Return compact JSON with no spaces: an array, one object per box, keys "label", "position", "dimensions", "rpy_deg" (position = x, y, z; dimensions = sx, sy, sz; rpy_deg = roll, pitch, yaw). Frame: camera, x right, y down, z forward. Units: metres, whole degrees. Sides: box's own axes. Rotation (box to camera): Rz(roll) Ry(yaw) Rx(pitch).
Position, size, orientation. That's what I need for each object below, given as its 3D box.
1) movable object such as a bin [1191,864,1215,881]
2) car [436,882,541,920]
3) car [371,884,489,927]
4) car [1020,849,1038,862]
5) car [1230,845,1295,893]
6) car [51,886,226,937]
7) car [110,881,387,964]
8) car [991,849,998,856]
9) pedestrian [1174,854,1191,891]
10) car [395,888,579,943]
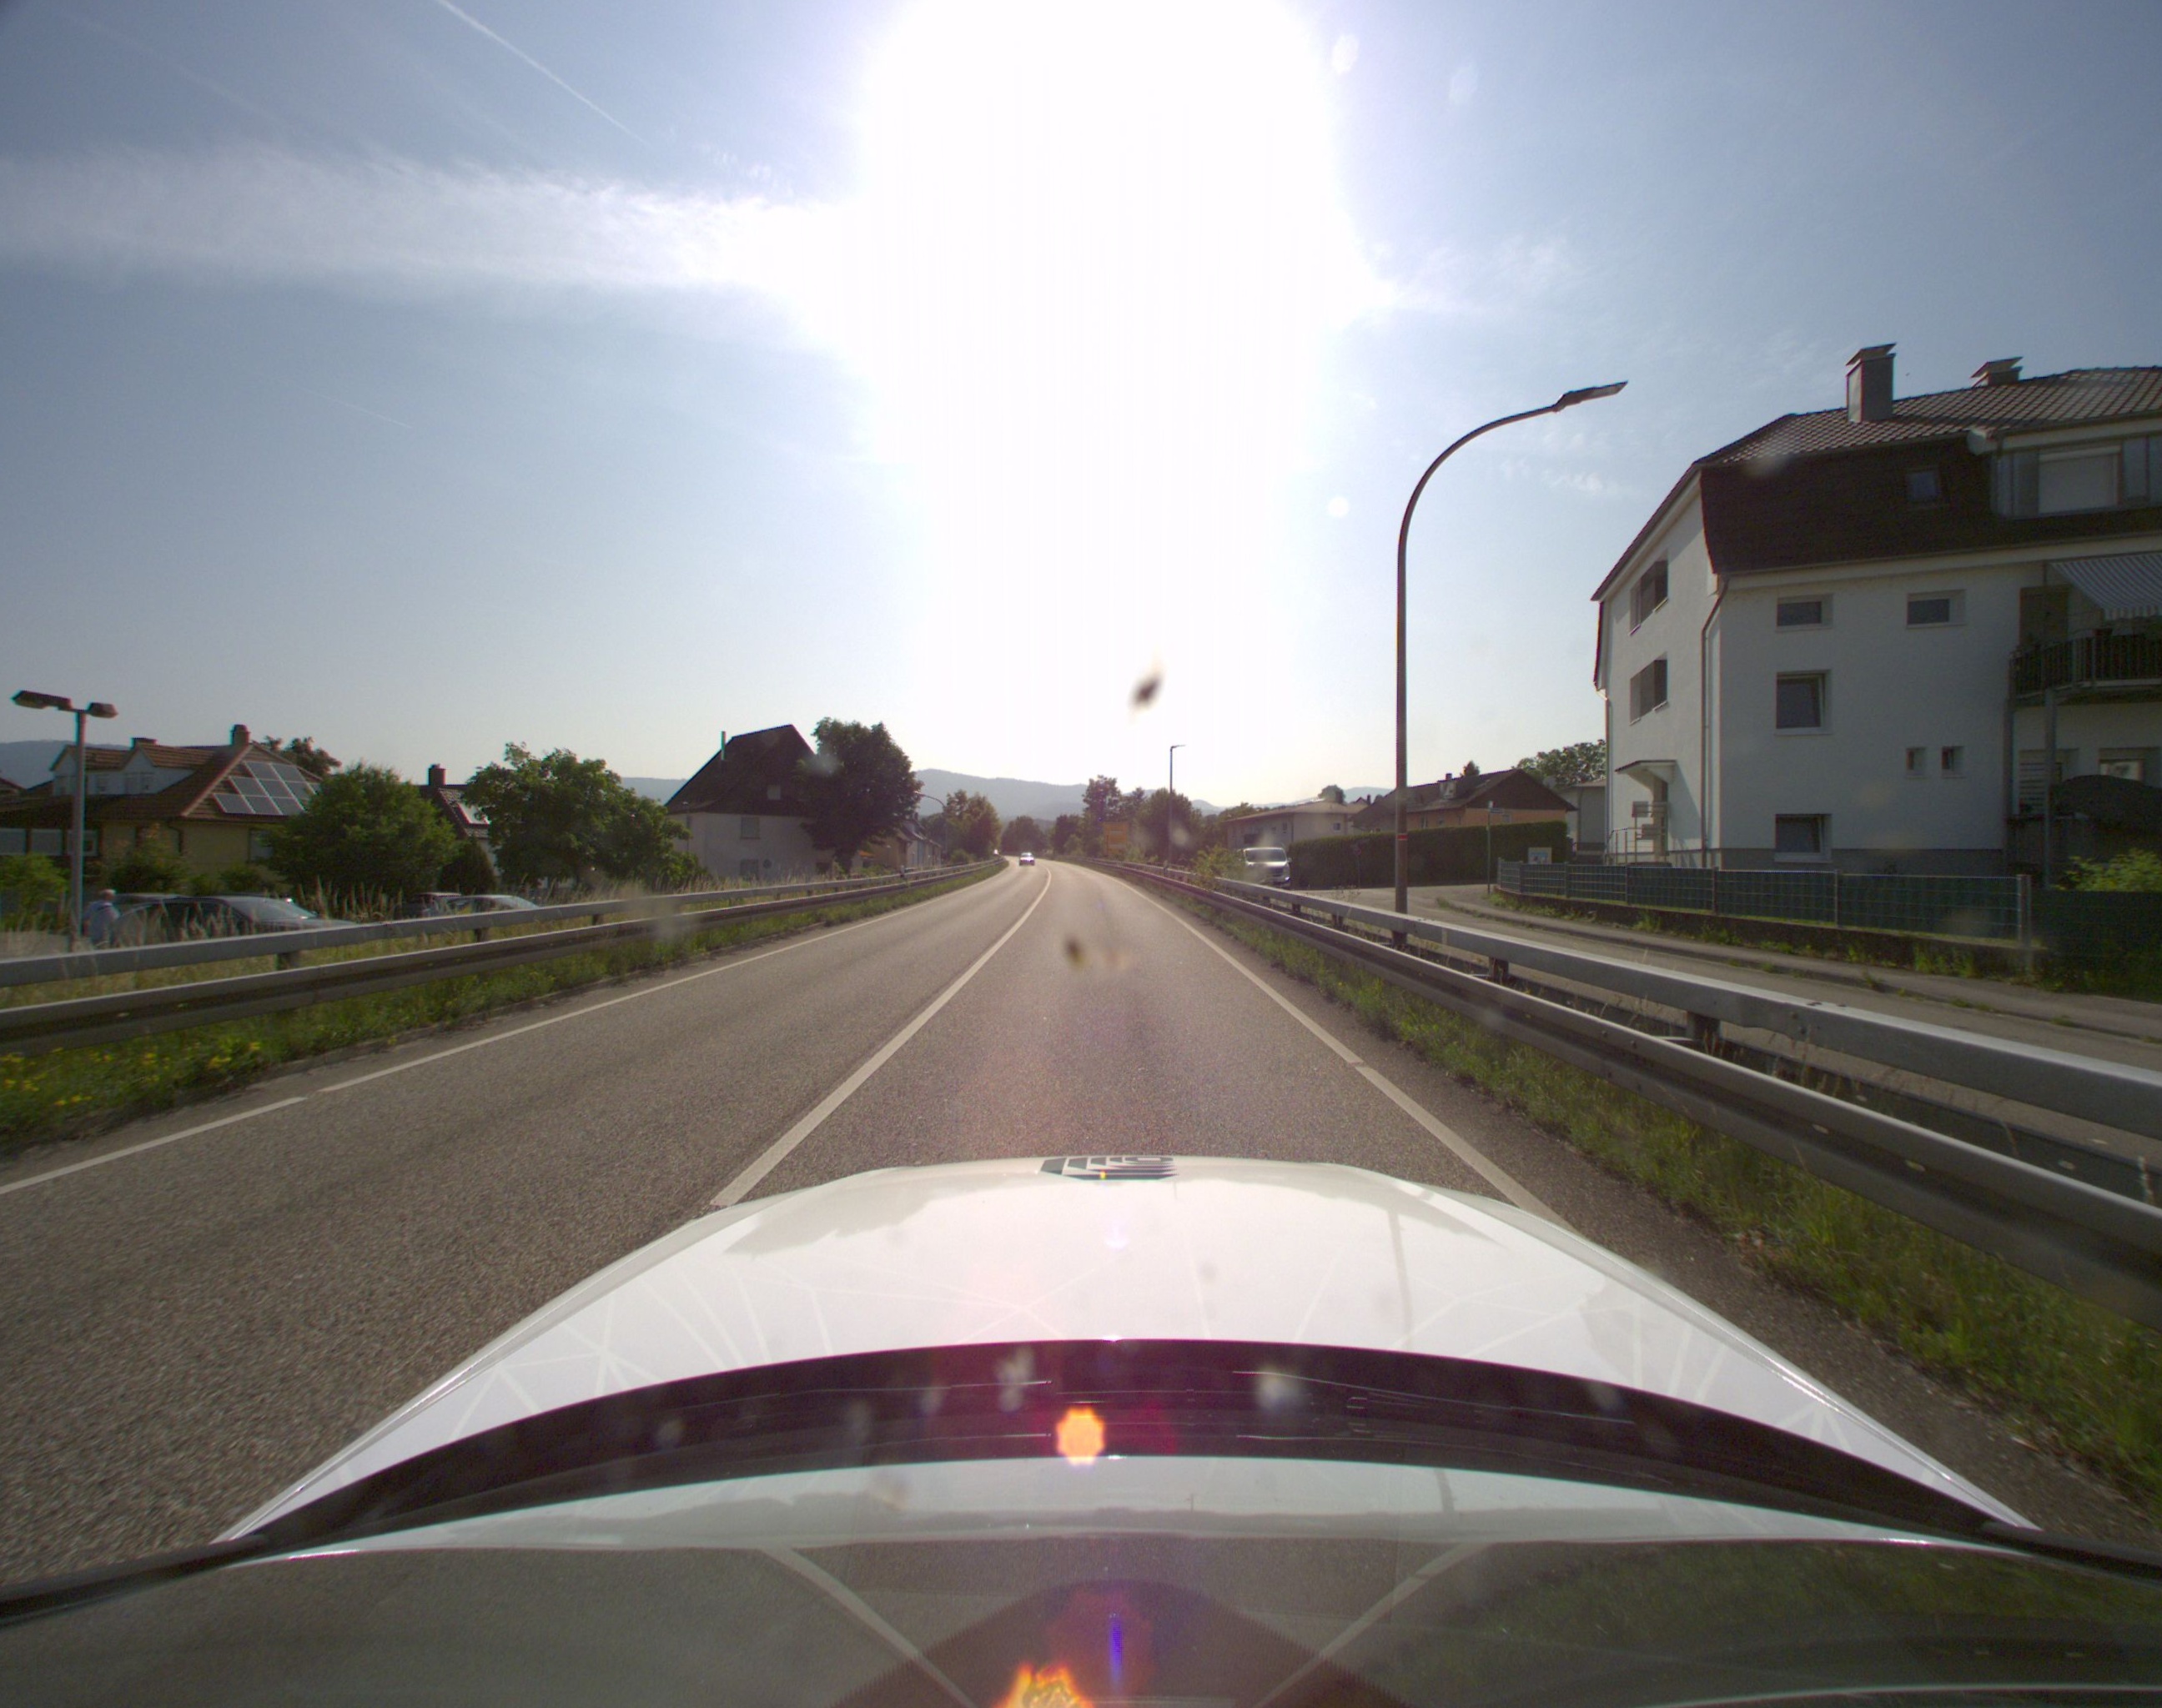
[{"label":"movable object such as a bin","position":[15.255,2.361,101.961],"dimensions":[2.778,2.013,1.585],"rpy_deg":[1,0,-4]},{"label":"car","position":[-29.782,2.349,40.981],"dimensions":[4.130,1.634,1.868],"rpy_deg":[3,-2,13]},{"label":"car","position":[-29.997,2.342,37.567],"dimensions":[4.524,1.634,1.869],"rpy_deg":[3,-2,16]},{"label":"car","position":[-5.947,0.141,93.384],"dimensions":[1.753,1.410,3.987],"rpy_deg":[-2,0,-1]},{"label":"car","position":[7.922,0.580,36.091],"dimensions":[1.985,1.945,5.366],"rpy_deg":[-1,0,3]},{"label":"car","position":[-33.494,2.007,29.011],"dimensions":[4.531,1.634,1.866],"rpy_deg":[1,-2,9]},{"label":"car","position":[-18.836,1.520,18.584],"dimensions":[4.287,1.665,1.873],"rpy_deg":[-1,0,-1]},{"label":"car","position":[-22.186,-0.391,208.728],"dimensions":[1.805,1.561,3.984],"rpy_deg":[-2,0,-6]},{"label":"pedestrian","position":[5.527,0.990,44.316],"dimensions":[0.785,2.013,0.998],"rpy_deg":[-1,0,1]},{"label":"car","position":[-18.099,1.856,24.943],"dimensions":[4.282,1.504,1.875],"rpy_deg":[-1,0,2]}]
